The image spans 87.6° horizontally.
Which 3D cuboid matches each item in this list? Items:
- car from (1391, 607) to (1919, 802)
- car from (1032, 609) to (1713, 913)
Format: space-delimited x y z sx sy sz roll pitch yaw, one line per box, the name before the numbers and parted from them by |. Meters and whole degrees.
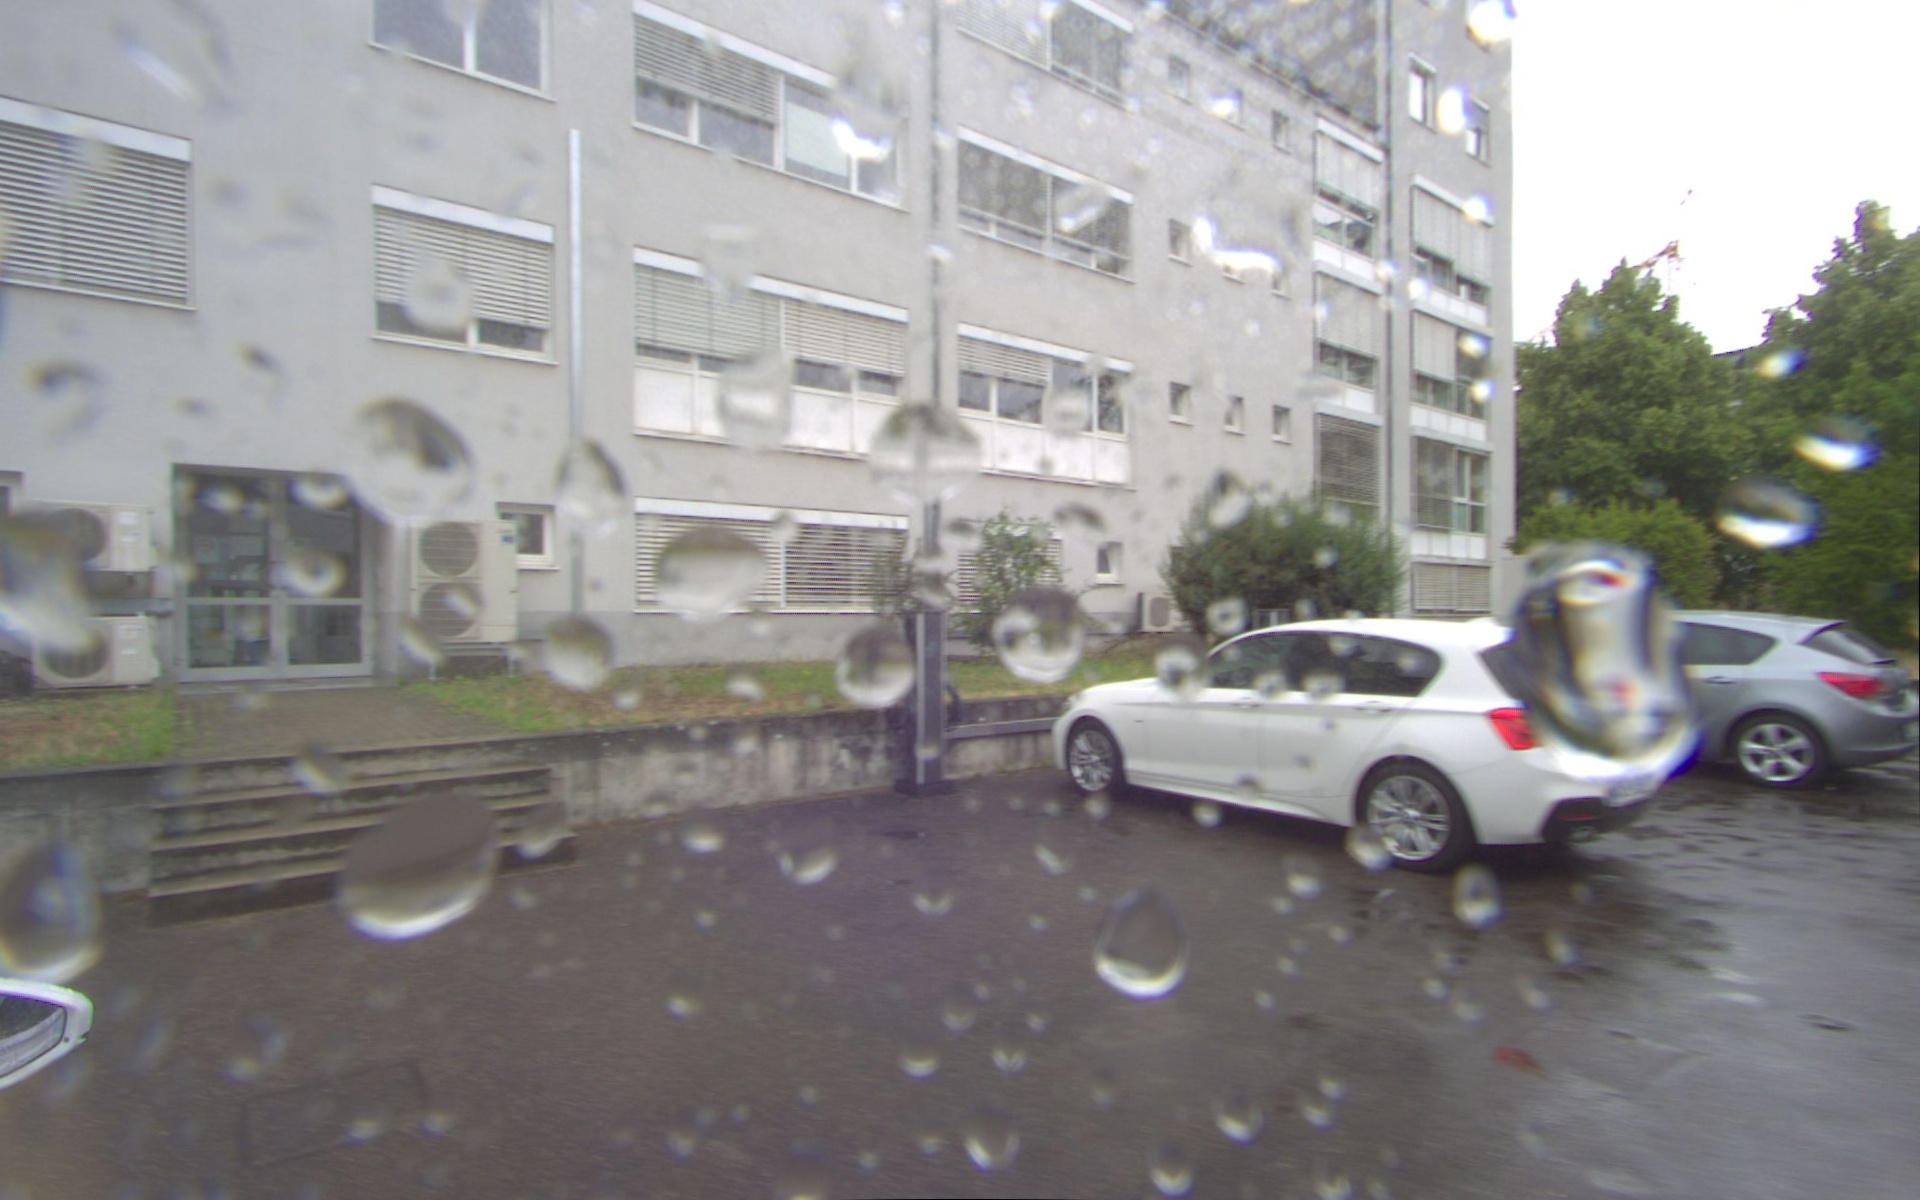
car | 6.810 0.869 10.041 1.975 1.509 4.192 1 -2 -36
car | 2.617 0.858 7.274 1.975 1.509 4.192 1 -2 -36
